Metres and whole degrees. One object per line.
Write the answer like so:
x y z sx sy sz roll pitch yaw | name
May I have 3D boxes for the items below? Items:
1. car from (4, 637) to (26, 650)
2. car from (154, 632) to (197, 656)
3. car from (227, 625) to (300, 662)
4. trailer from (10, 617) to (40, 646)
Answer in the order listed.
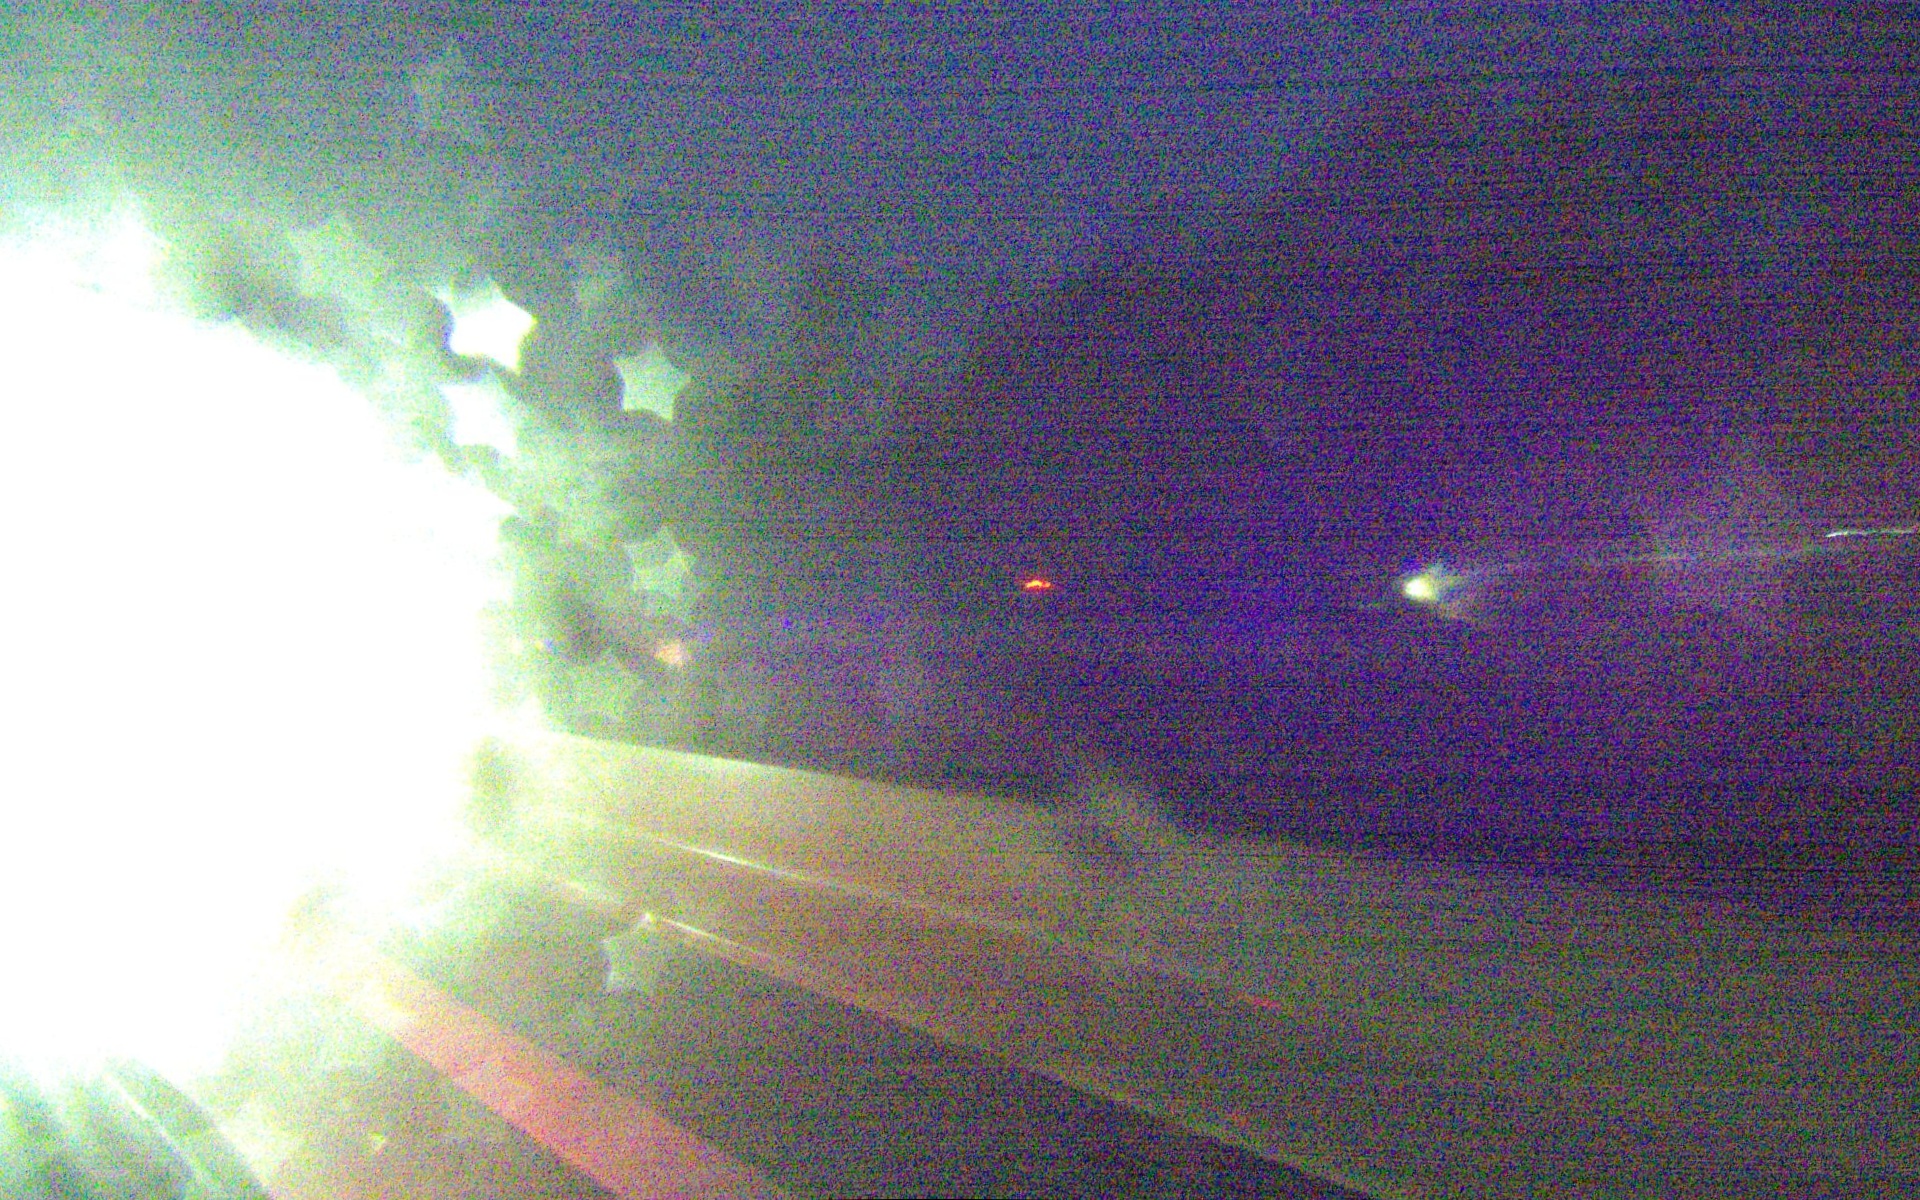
-131.842 6.074 141.234 4.671 1.537 1.972 -2 2 44 | car
-62.743 3.460 80.887 4.288 1.732 1.972 -2 2 43 | car
-30.362 1.853 44.091 4.290 1.417 1.784 -2 2 45 | car
-158.007 5.365 170.943 13.723 4.578 2.594 -2 2 43 | trailer
